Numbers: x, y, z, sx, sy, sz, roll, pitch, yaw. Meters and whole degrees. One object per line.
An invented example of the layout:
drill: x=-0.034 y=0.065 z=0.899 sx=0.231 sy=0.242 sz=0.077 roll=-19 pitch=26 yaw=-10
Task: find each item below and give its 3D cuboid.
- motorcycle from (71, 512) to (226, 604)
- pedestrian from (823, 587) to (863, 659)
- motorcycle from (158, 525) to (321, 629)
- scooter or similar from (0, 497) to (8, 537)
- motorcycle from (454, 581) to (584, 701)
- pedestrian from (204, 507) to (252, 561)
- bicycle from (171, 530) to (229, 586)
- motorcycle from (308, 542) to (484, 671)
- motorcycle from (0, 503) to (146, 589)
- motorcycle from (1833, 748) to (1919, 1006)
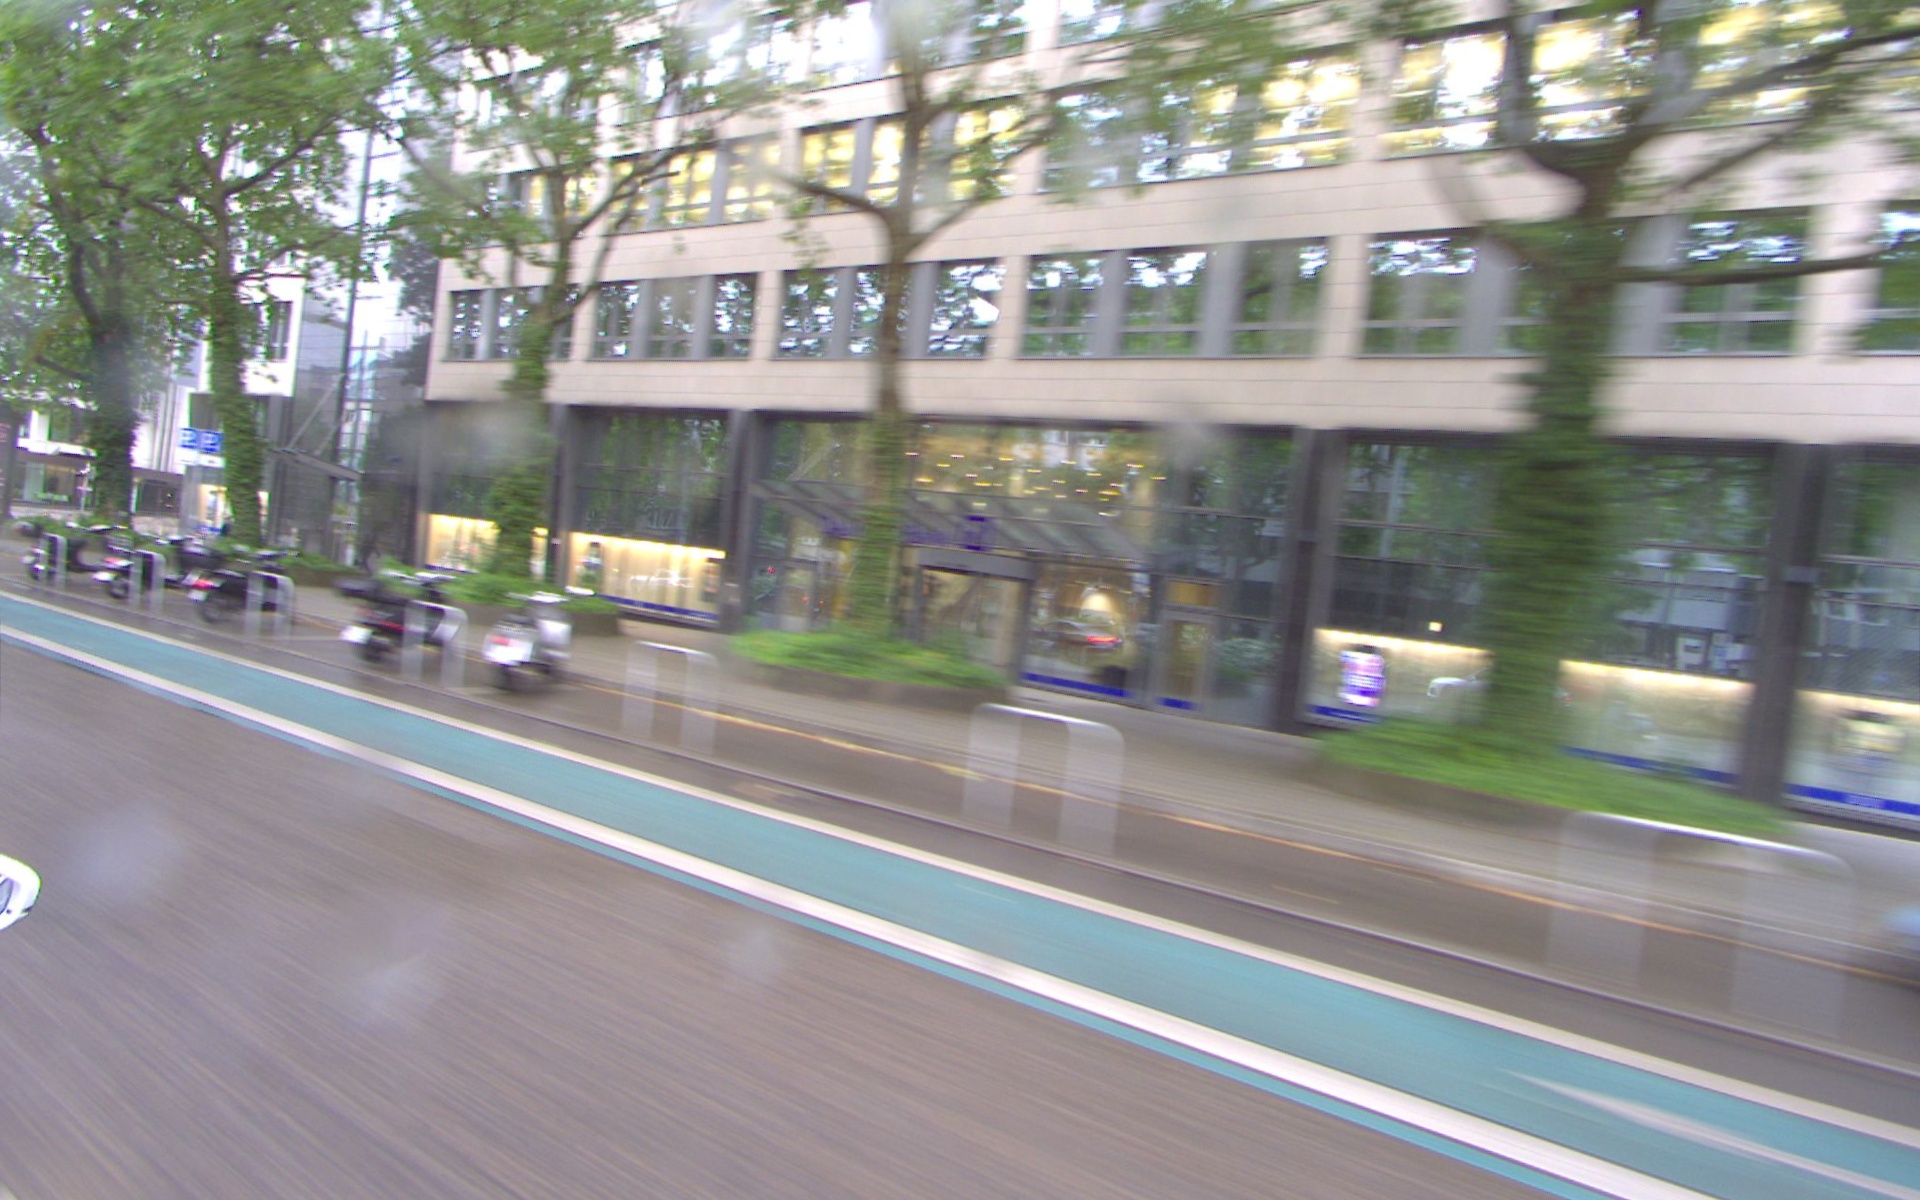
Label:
motorcycle: x=-13.728 y=-0.670 z=17.096 sx=0.715 sy=1.391 sz=1.961 roll=8 pitch=2 yaw=10
pedestrian: x=-2.994 y=0.581 z=25.746 sx=0.718 sy=1.714 sz=0.825 roll=6 pitch=2 yaw=-16
motorcycle: x=-10.847 y=-0.329 z=15.238 sx=0.715 sy=1.391 sz=1.961 roll=8 pitch=2 yaw=10
scooter or similar: x=-29.759 y=-2.593 z=30.471 sx=1.269 sy=1.212 sz=0.489 roll=7 pitch=0 yaw=0
motorcycle: x=-5.186 y=0.430 z=11.989 sx=0.672 sy=1.229 sz=2.057 roll=5 pitch=2 yaw=-4
pedestrian: x=-28.213 y=-2.553 z=38.787 sx=1.255 sy=1.872 sz=0.919 roll=6 pitch=-1 yaw=30
bicycle: x=-15.816 y=-0.887 z=20.972 sx=0.632 sy=1.040 sz=1.750 roll=7 pitch=0 yaw=-29
motorcycle: x=-7.204 y=0.084 z=12.991 sx=0.715 sy=1.447 sz=2.060 roll=8 pitch=2 yaw=10
motorcycle: x=-16.454 y=-0.961 z=18.659 sx=0.715 sy=1.391 sz=1.961 roll=8 pitch=2 yaw=15
motorcycle: x=5.941 y=1.652 z=5.231 sx=0.674 sy=1.386 sz=1.937 roll=4 pitch=2 yaw=-18
